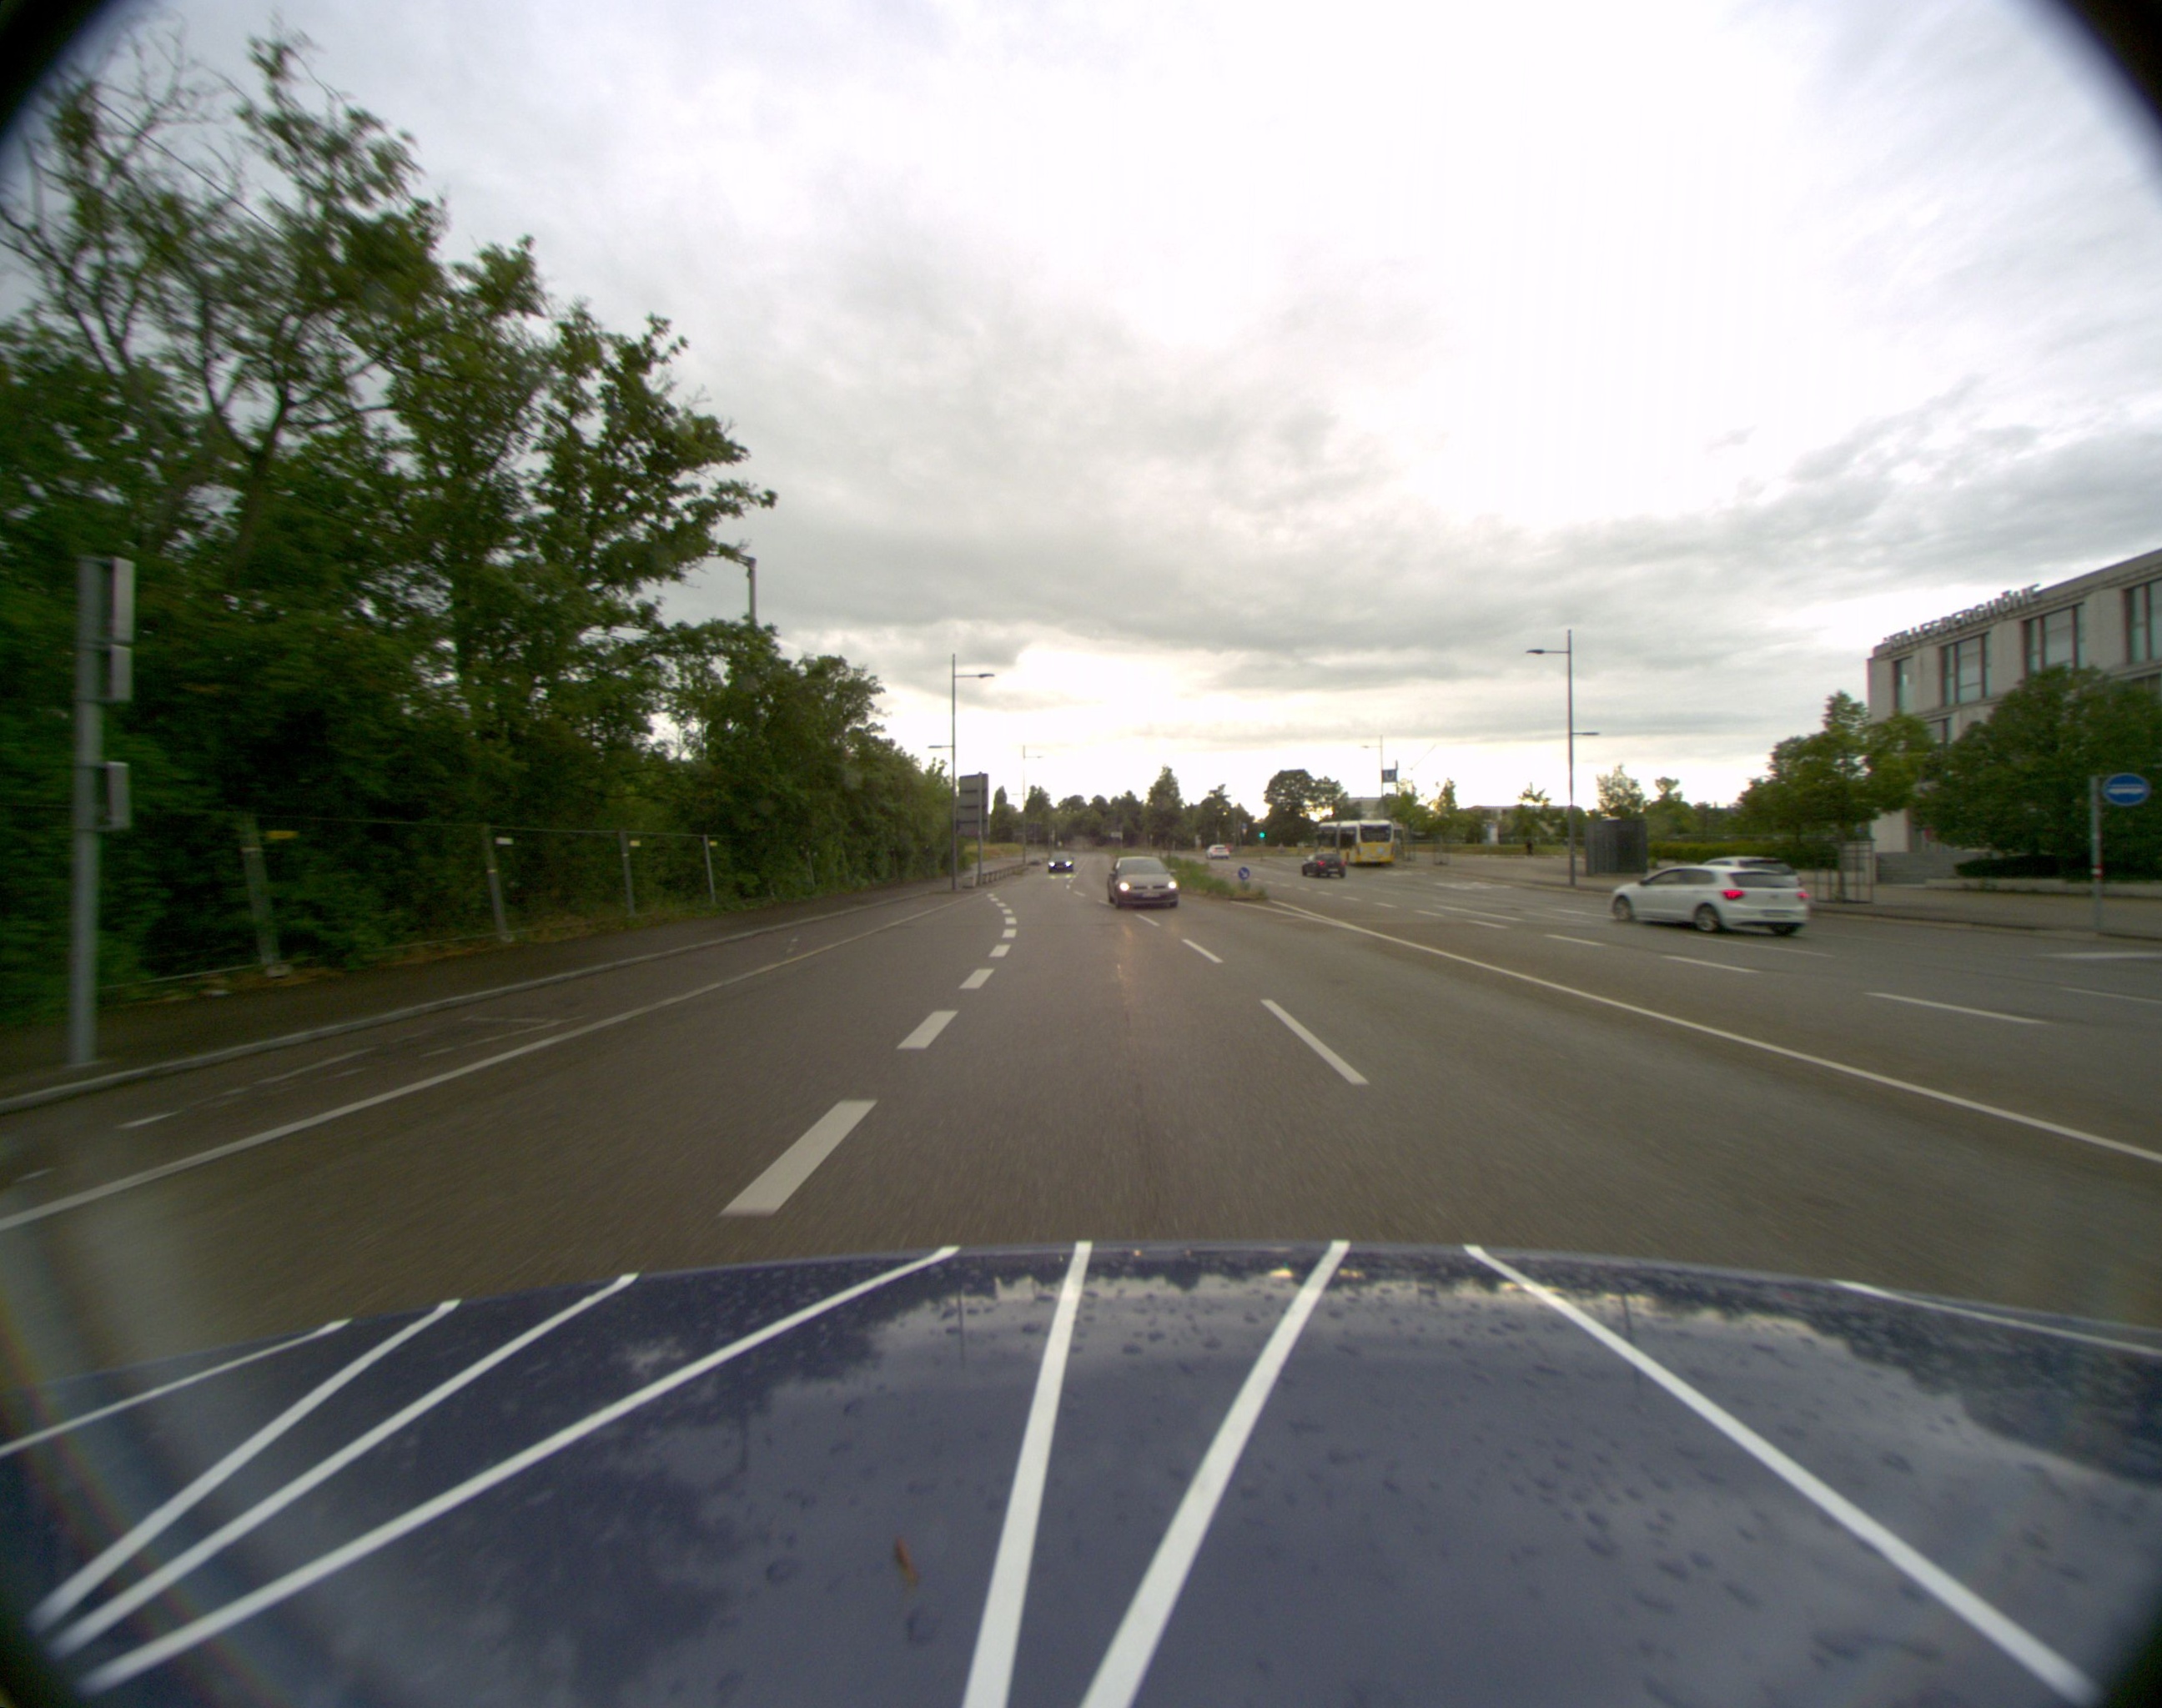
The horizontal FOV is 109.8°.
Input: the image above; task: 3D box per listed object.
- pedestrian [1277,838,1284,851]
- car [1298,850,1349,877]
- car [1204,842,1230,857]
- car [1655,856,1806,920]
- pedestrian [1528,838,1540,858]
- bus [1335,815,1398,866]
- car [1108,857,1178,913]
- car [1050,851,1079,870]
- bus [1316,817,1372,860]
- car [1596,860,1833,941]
[{"bbox_3d":[25.741,-1.233,97.974,0.616,1.584,0.812,-1,0,-3],"label":"pedestrian"},{"bbox_3d":[14.260,0.537,44.909,1.851,1.454,3.866,0,1,1],"label":"car"},{"bbox_3d":[14.376,-0.494,80.346,1.998,1.410,4.512,-1,1,1],"label":"car"},{"bbox_3d":[17.533,0.873,20.687,1.617,1.499,2.972,-2,1,1],"label":"car"},{"bbox_3d":[35.881,-0.490,60.232,0.491,1.520,0.665,-1,0,-4],"label":"pedestrian"},{"bbox_3d":[21.552,-1.104,57.806,2.826,3.453,8.233,-2,2,9],"label":"bus"},{"bbox_3d":[1.786,0.860,22.958,1.810,1.421,4.197,-2,1,1],"label":"car"},{"bbox_3d":[-1.244,0.479,56.612,1.990,1.391,4.175,-1,0,-3],"label":"car"},{"bbox_3d":[22.940,-1.467,66.840,2.826,3.453,9.977,-2,2,9],"label":"bus"},{"bbox_3d":[13.989,0.941,17.173,1.877,1.422,4.175,2,1,1],"label":"car"}]
